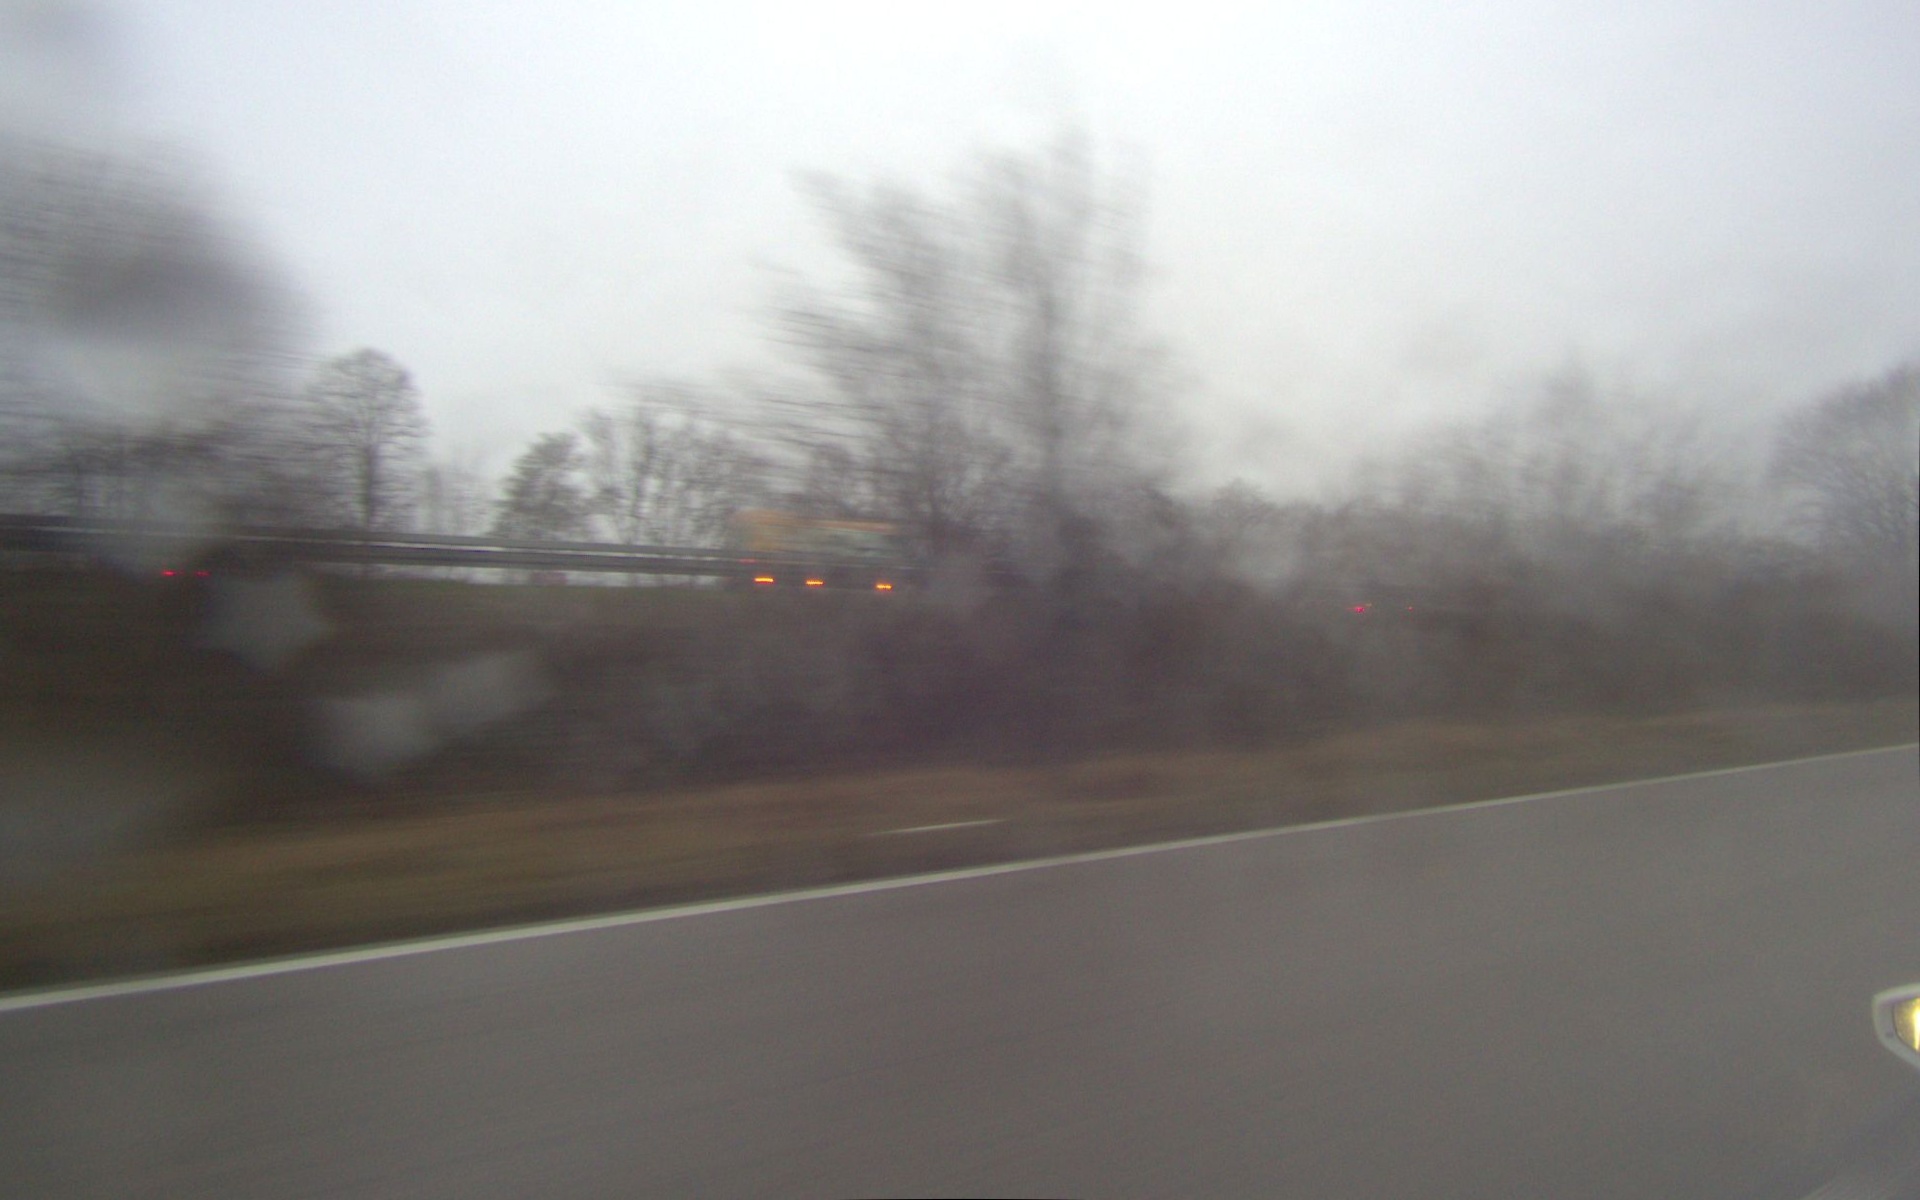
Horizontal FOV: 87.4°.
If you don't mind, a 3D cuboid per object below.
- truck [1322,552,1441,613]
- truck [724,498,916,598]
[{"bbox_3d":[19.088,-0.746,45.386,5.592,2.526,1.984,2,0,-30],"label":"truck"},{"bbox_3d":[-3.781,-1.322,27.421,4.772,2.374,1.984,2,0,-30],"label":"truck"}]
